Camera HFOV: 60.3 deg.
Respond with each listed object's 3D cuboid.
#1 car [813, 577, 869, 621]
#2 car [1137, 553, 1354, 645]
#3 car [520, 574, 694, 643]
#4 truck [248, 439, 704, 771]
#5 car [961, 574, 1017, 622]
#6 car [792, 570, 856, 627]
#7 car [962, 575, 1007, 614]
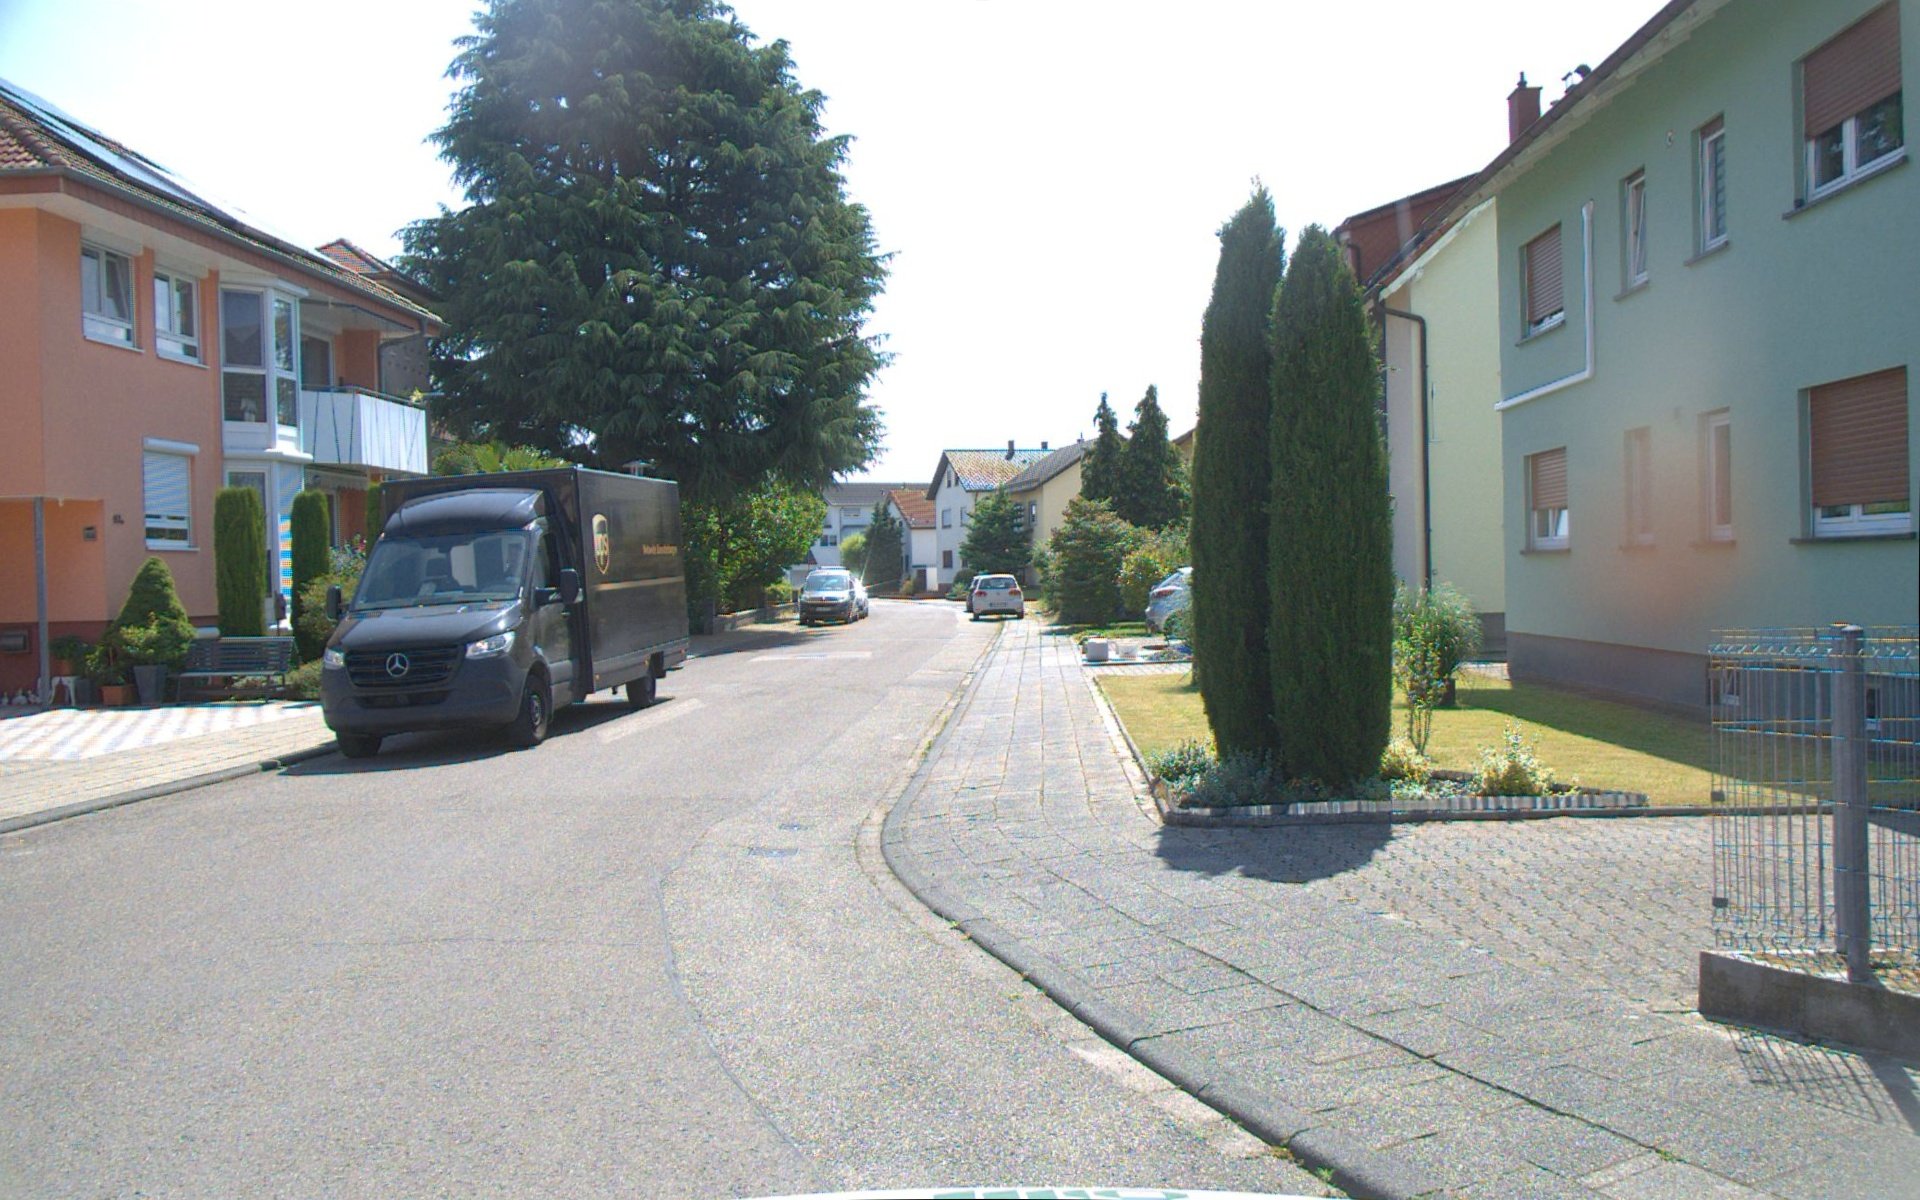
[{"bbox_3d":[-4.407,-0.075,61.867,1.771,1.521,4.000,-2,1,0],"label":"car"},{"bbox_3d":[5.350,-0.039,31.400,3.832,1.536,1.775,-2,1,3],"label":"car"},{"bbox_3d":[-9.316,0.208,43.859,4.104,1.682,1.815,-2,1,5],"label":"car"},{"bbox_3d":[-4.973,-0.016,18.682,2.383,2.835,7.302,-4,1,4],"label":"truck"},{"bbox_3d":[0.947,-0.109,56.250,1.771,1.521,4.000,-2,1,0],"label":"car"},{"bbox_3d":[-4.561,-0.079,55.921,1.771,1.793,4.206,-2,1,0],"label":"car"},{"bbox_3d":[0.996,-0.246,69.026,1.771,1.521,4.000,-2,1,0],"label":"car"}]
